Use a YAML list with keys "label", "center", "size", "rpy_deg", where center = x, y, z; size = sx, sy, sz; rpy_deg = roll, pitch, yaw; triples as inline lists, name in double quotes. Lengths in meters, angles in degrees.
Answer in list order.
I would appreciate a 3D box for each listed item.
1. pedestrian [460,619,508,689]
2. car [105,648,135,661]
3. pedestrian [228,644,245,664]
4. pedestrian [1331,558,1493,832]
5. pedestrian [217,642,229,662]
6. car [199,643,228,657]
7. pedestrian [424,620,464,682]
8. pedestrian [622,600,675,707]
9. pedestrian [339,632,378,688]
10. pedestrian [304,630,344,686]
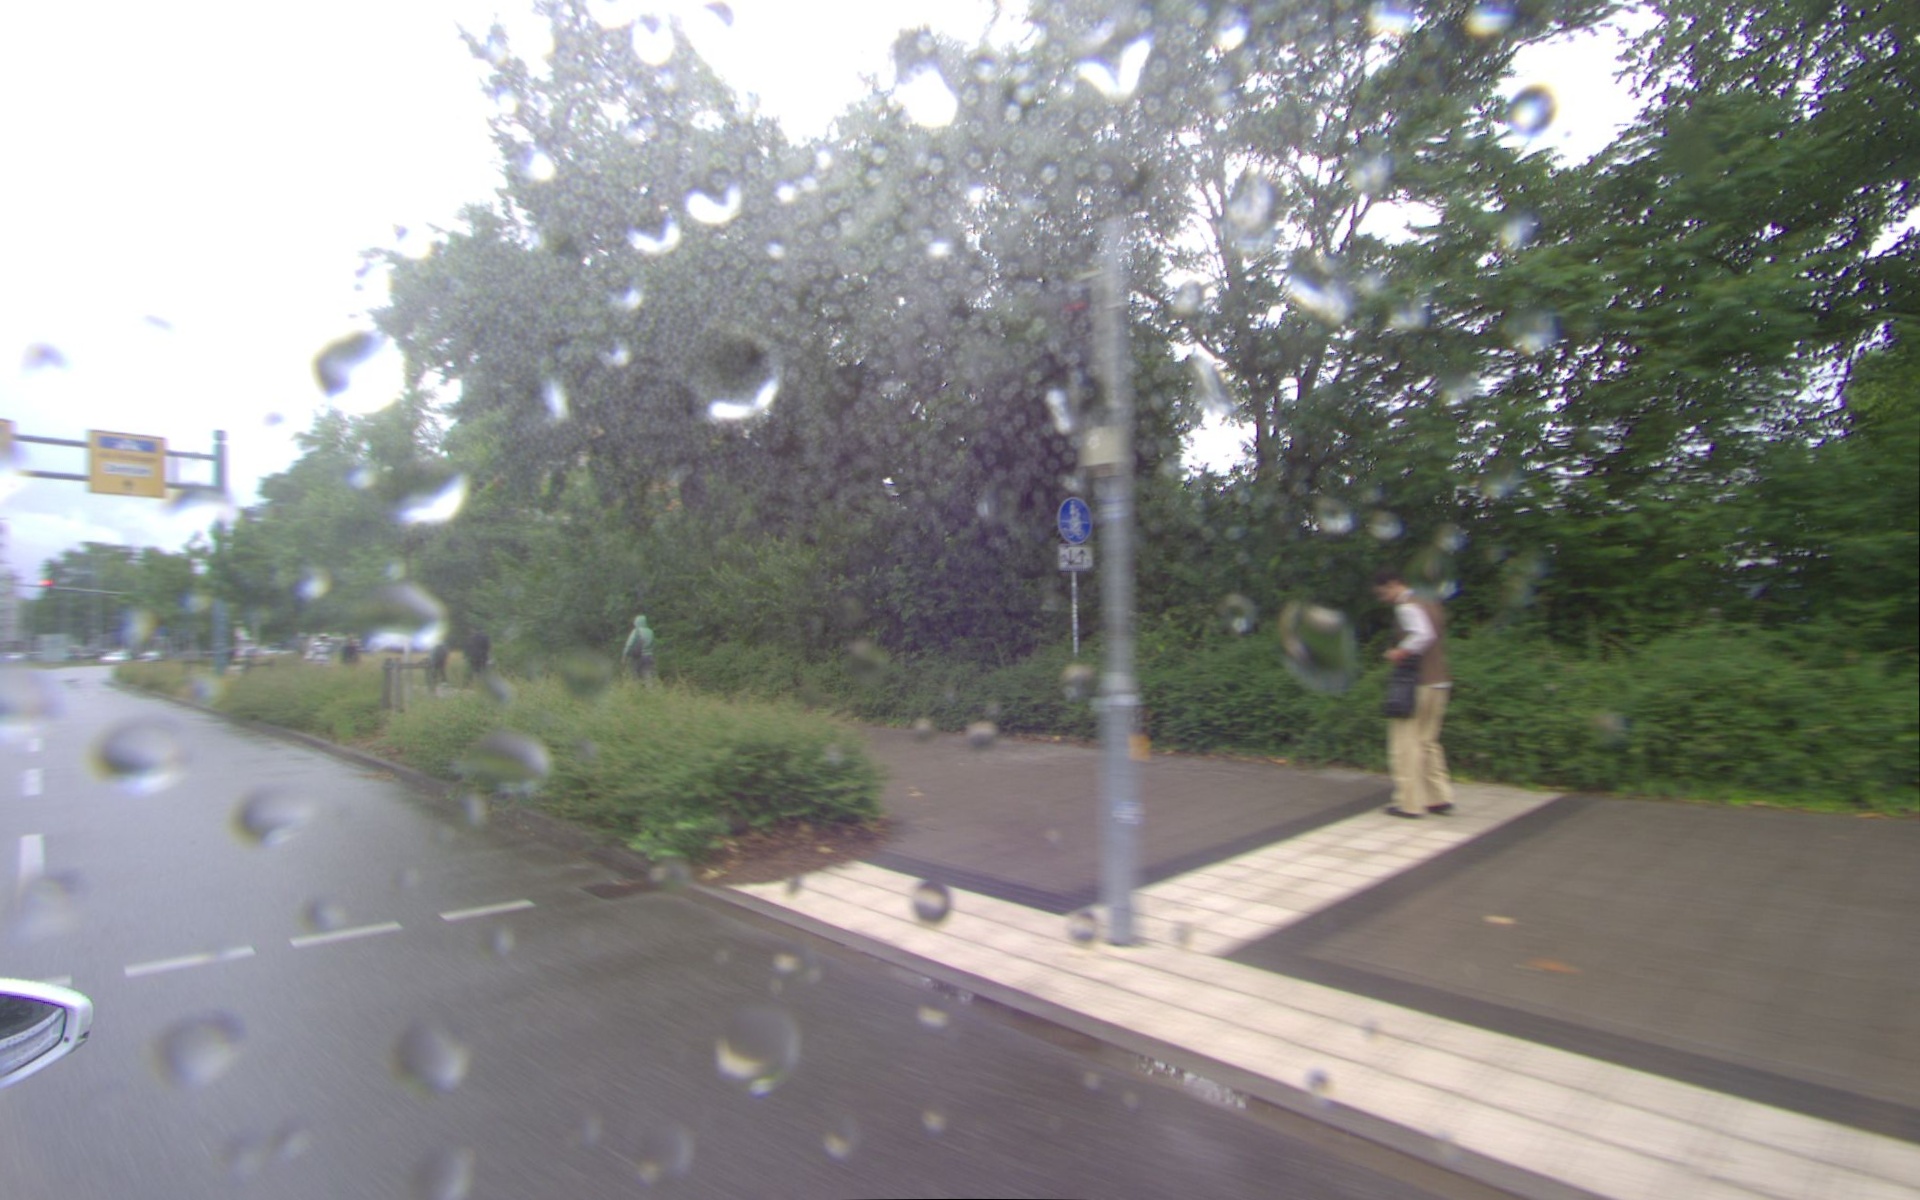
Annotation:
- label: "pedestrian"
  center: [-12.466, 1.403, 26.222]
  size: [0.925, 1.770, 1.038]
  rpy_deg: [1, -1, -38]
- label: "car"
  center: [-105.319, 6.844, 125.600]
  size: [1.656, 1.521, 3.860]
  rpy_deg: [-1, -2, -20]
- label: "pedestrian"
  center: [-59.408, 4.424, 82.230]
  size: [1.011, 1.608, 0.932]
  rpy_deg: [1, -2, -31]
- label: "pedestrian"
  center: [3.353, 0.669, 7.446]
  size: [0.723, 1.883, 0.844]
  rpy_deg: [0, -1, -38]
- label: "pedestrian"
  center: [-62.171, 4.383, 84.482]
  size: [0.745, 1.608, 0.932]
  rpy_deg: [1, -2, -30]
- label: "car"
  center: [-95.245, 6.344, 127.741]
  size: [1.765, 1.664, 4.152]
  rpy_deg: [0, -2, -19]
- label: "pedestrian"
  center: [-15.558, 1.529, 30.194]
  size: [0.925, 1.820, 0.822]
  rpy_deg: [1, -1, -38]
- label: "pedestrian"
  center: [-6.139, 1.038, 19.727]
  size: [0.784, 2.039, 0.822]
  rpy_deg: [0, -1, -38]
- label: "pedestrian"
  center: [-19.439, 1.928, 32.377]
  size: [0.926, 1.726, 0.821]
  rpy_deg: [2, 0, -40]
- label: "pedestrian"
  center: [-20.322, 1.843, 32.004]
  size: [0.926, 1.743, 0.821]
  rpy_deg: [2, 0, -40]
